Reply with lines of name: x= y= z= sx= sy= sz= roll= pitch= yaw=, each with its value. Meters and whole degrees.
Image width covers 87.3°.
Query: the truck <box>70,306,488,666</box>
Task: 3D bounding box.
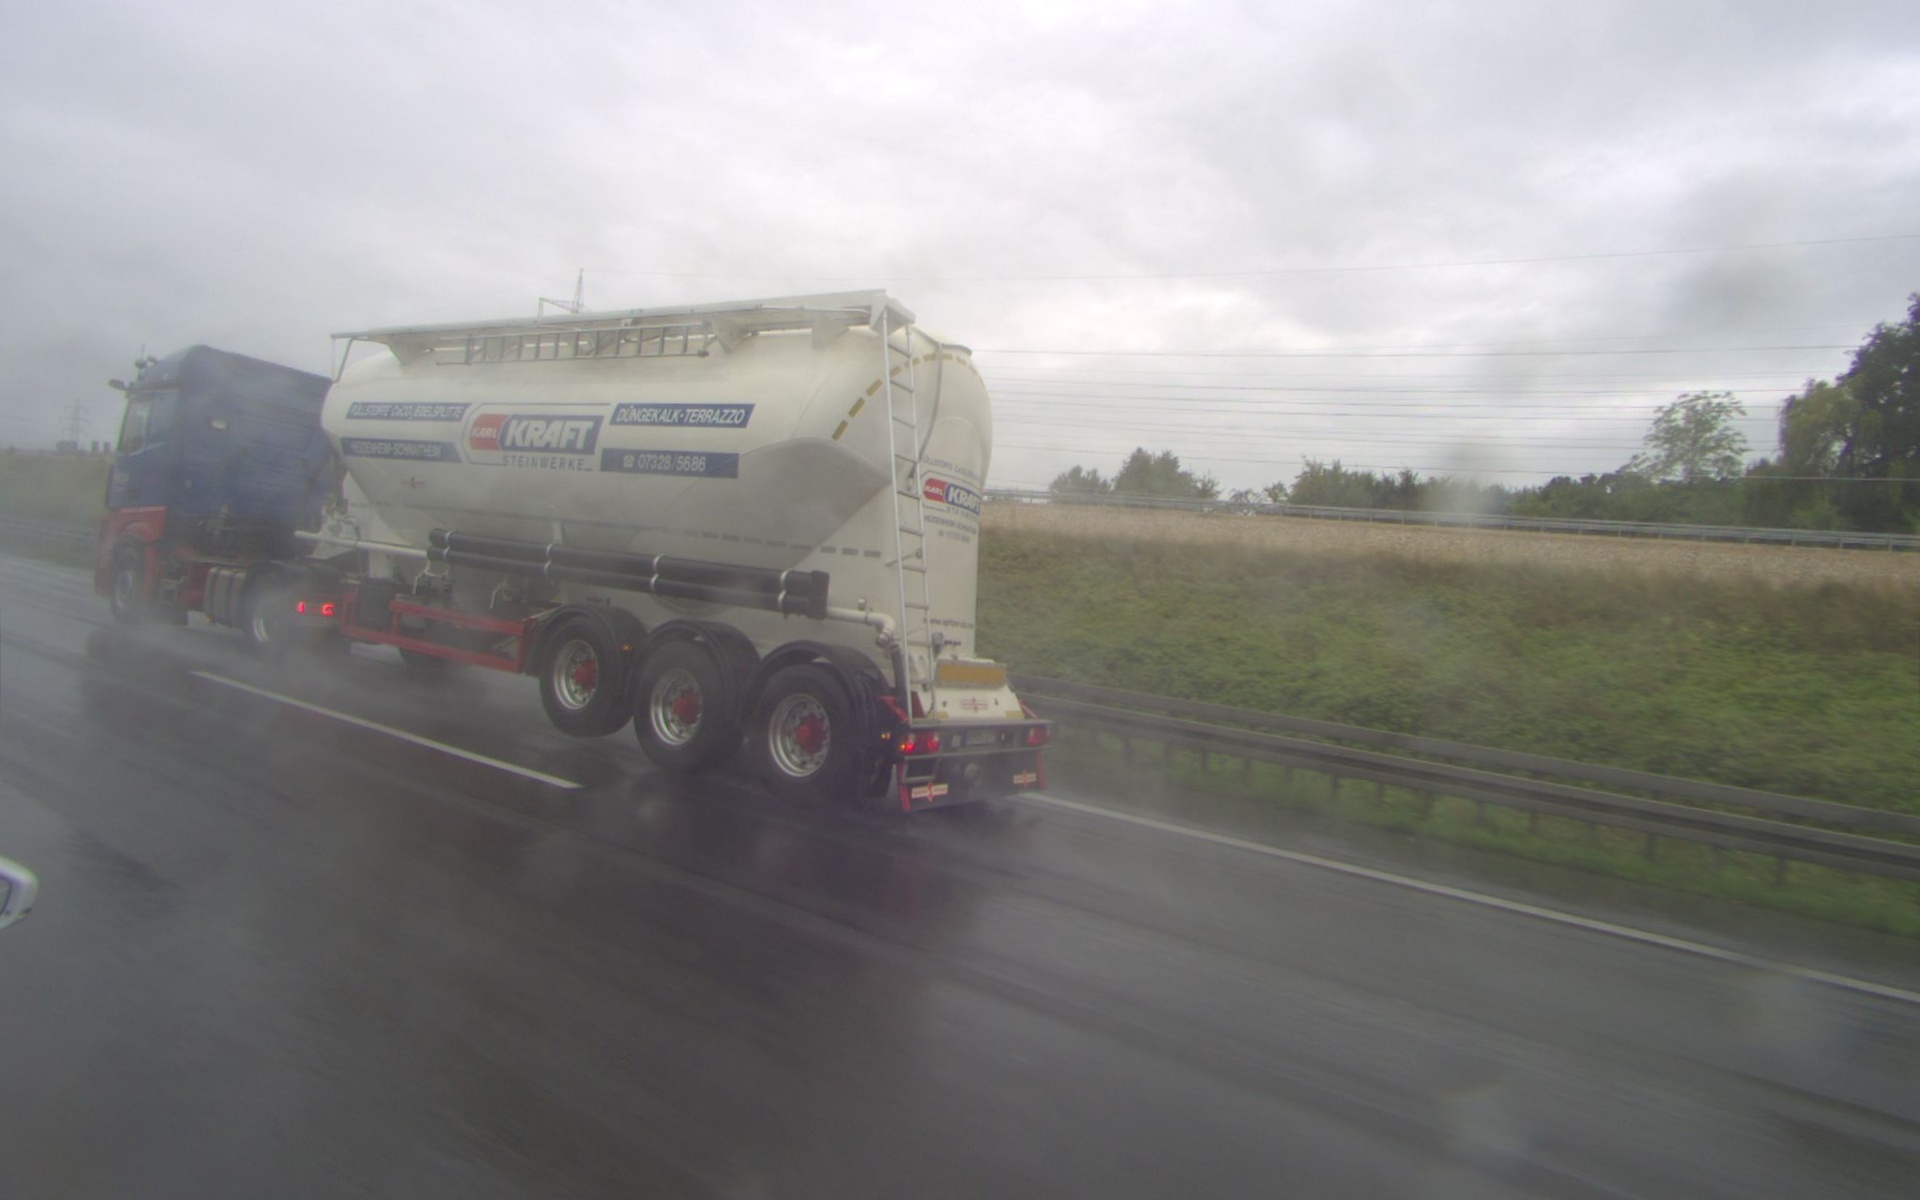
truck: x=-9.379 y=-1.500 z=13.786 sx=4.990 sy=4.031 sz=2.501 roll=8 pitch=-1 yaw=31

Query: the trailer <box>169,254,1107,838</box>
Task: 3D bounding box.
trailer: x=-4.209 y=-0.844 z=10.609 sx=10.880 sy=3.928 sz=2.502 roll=7 pitch=-1 yaw=31
